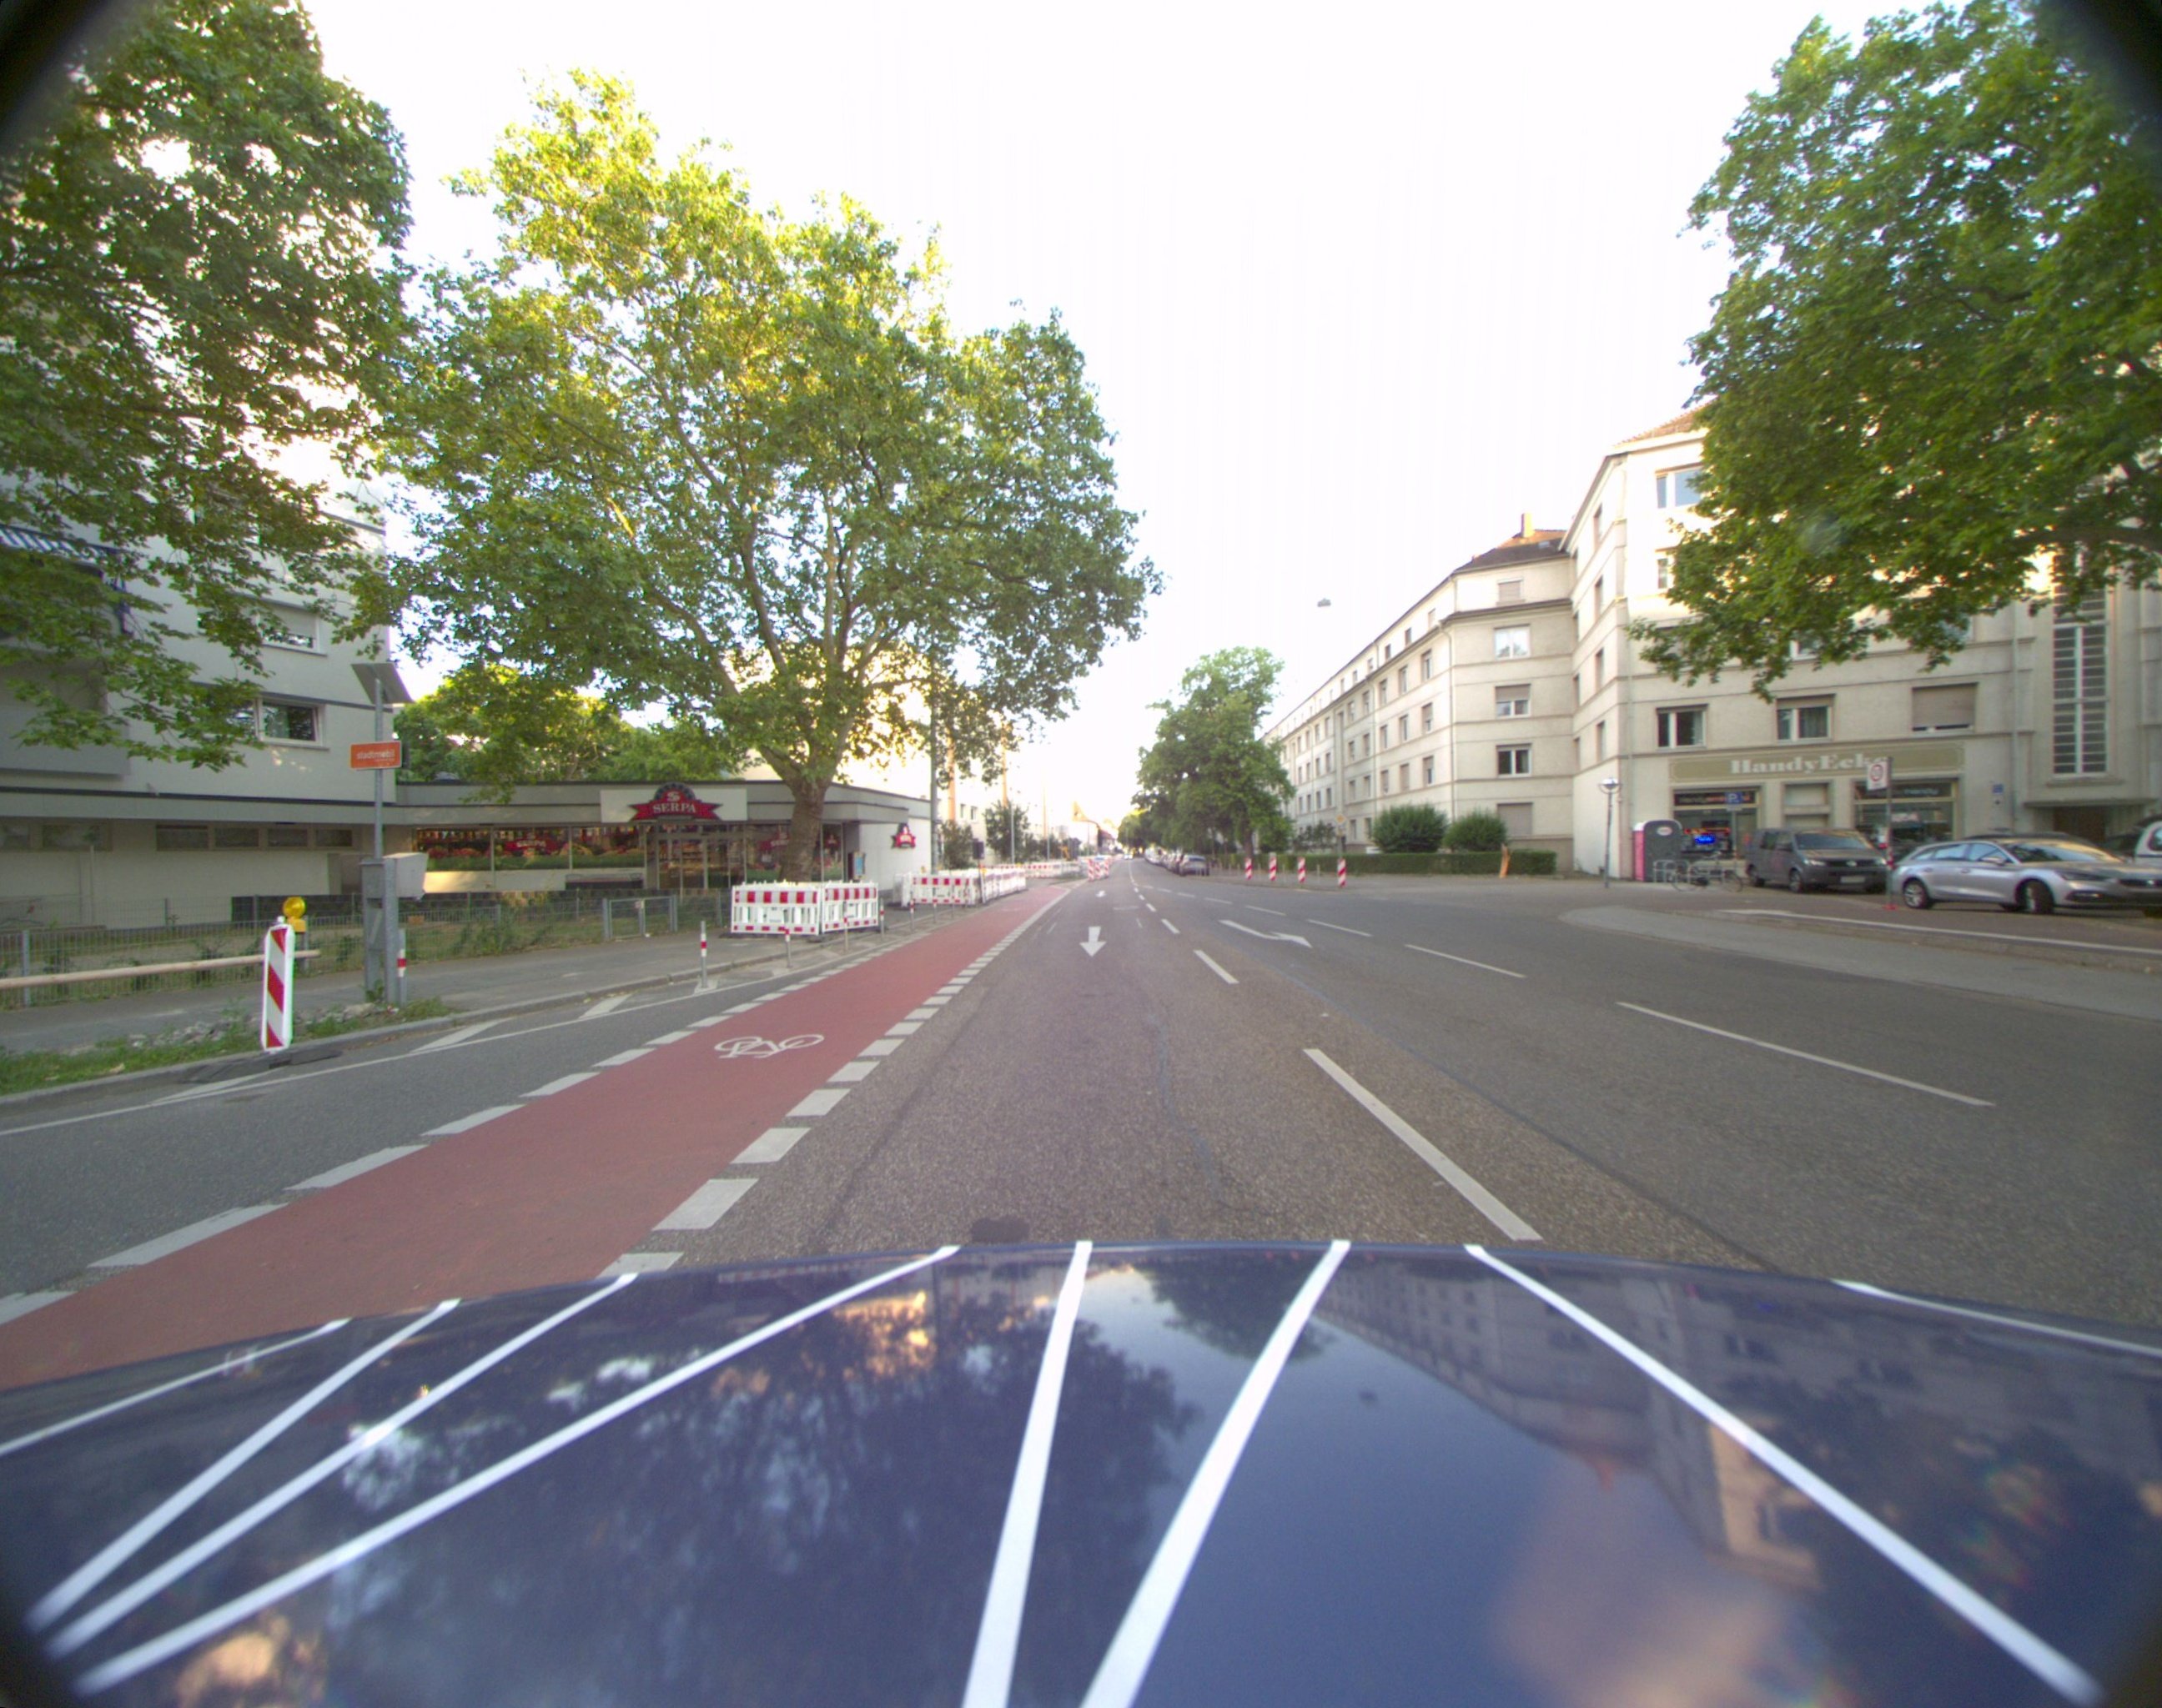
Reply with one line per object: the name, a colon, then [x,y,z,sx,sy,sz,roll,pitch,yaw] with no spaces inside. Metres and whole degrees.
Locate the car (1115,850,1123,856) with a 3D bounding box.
car: [9.767,-0.260,196.466,1.892,1.591,4.260,-2,1,6]

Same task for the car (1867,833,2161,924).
car: [18.130,0.431,14.670,1.996,1.494,4.647,0,-1,15]

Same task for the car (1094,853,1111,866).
car: [2.882,0.745,101.033,1.892,1.591,4.260,-2,1,6]

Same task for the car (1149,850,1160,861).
car: [13.827,0.301,142.941,1.892,1.868,4.946,-2,1,6]

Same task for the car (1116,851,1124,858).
car: [10.563,0.124,205.389,1.892,1.591,4.260,-2,1,6]

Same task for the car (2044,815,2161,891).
car: [29.614,-0.095,20.826,1.995,1.945,4.646,0,3,23]

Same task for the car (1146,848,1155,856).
car: [15.195,-0.491,166.077,1.892,1.591,4.260,-2,1,6]

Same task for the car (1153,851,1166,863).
car: [12.116,0.475,117.871,1.892,1.591,4.260,-2,1,6]

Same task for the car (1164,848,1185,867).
car: [9.278,0.338,75.407,1.892,1.764,4.260,-2,1,6]

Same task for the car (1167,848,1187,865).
car: [10.194,0.269,80.925,1.892,1.591,4.260,-2,1,6]

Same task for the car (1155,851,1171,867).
car: [10.684,0.640,99.116,1.892,1.815,4.260,-2,1,6]

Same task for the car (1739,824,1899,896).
car: [22.611,0.083,23.552,1.995,1.945,4.646,0,3,23]

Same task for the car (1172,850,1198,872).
car: [8.480,0.547,62.174,1.892,1.681,4.260,-2,1,6]

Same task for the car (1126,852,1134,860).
car: [12.677,0.451,198.367,1.998,1.838,4.000,-2,1,3]

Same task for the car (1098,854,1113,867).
car: [3.692,0.920,113.319,1.892,1.726,4.260,-2,1,6]

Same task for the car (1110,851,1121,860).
car: [7.163,0.259,156.221,1.892,1.591,4.260,-2,1,6]

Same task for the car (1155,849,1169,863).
car: [11.546,0.310,108.200,1.892,1.855,4.260,-2,1,6]

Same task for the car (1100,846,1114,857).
car: [4.181,-0.358,121.833,1.892,1.651,4.260,-2,1,6]

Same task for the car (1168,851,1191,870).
car: [9.006,0.550,69.461,1.892,1.591,4.260,-2,1,6]

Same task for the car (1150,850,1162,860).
car: [13.132,0.146,132.793,1.892,1.591,4.260,-2,1,6]

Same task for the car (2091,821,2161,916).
car: [20.716,0.255,12.989,1.995,1.771,4.649,0,-1,21]

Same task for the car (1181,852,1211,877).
car: [8.116,0.694,53.898,1.892,1.591,4.001,-2,1,6]

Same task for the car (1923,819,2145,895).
car: [27.117,-0.019,21.913,1.995,1.945,4.646,0,3,23]

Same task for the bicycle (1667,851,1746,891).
bicycle: [19.399,0.531,23.610,1.802,1.199,0.648,-1,2,33]
